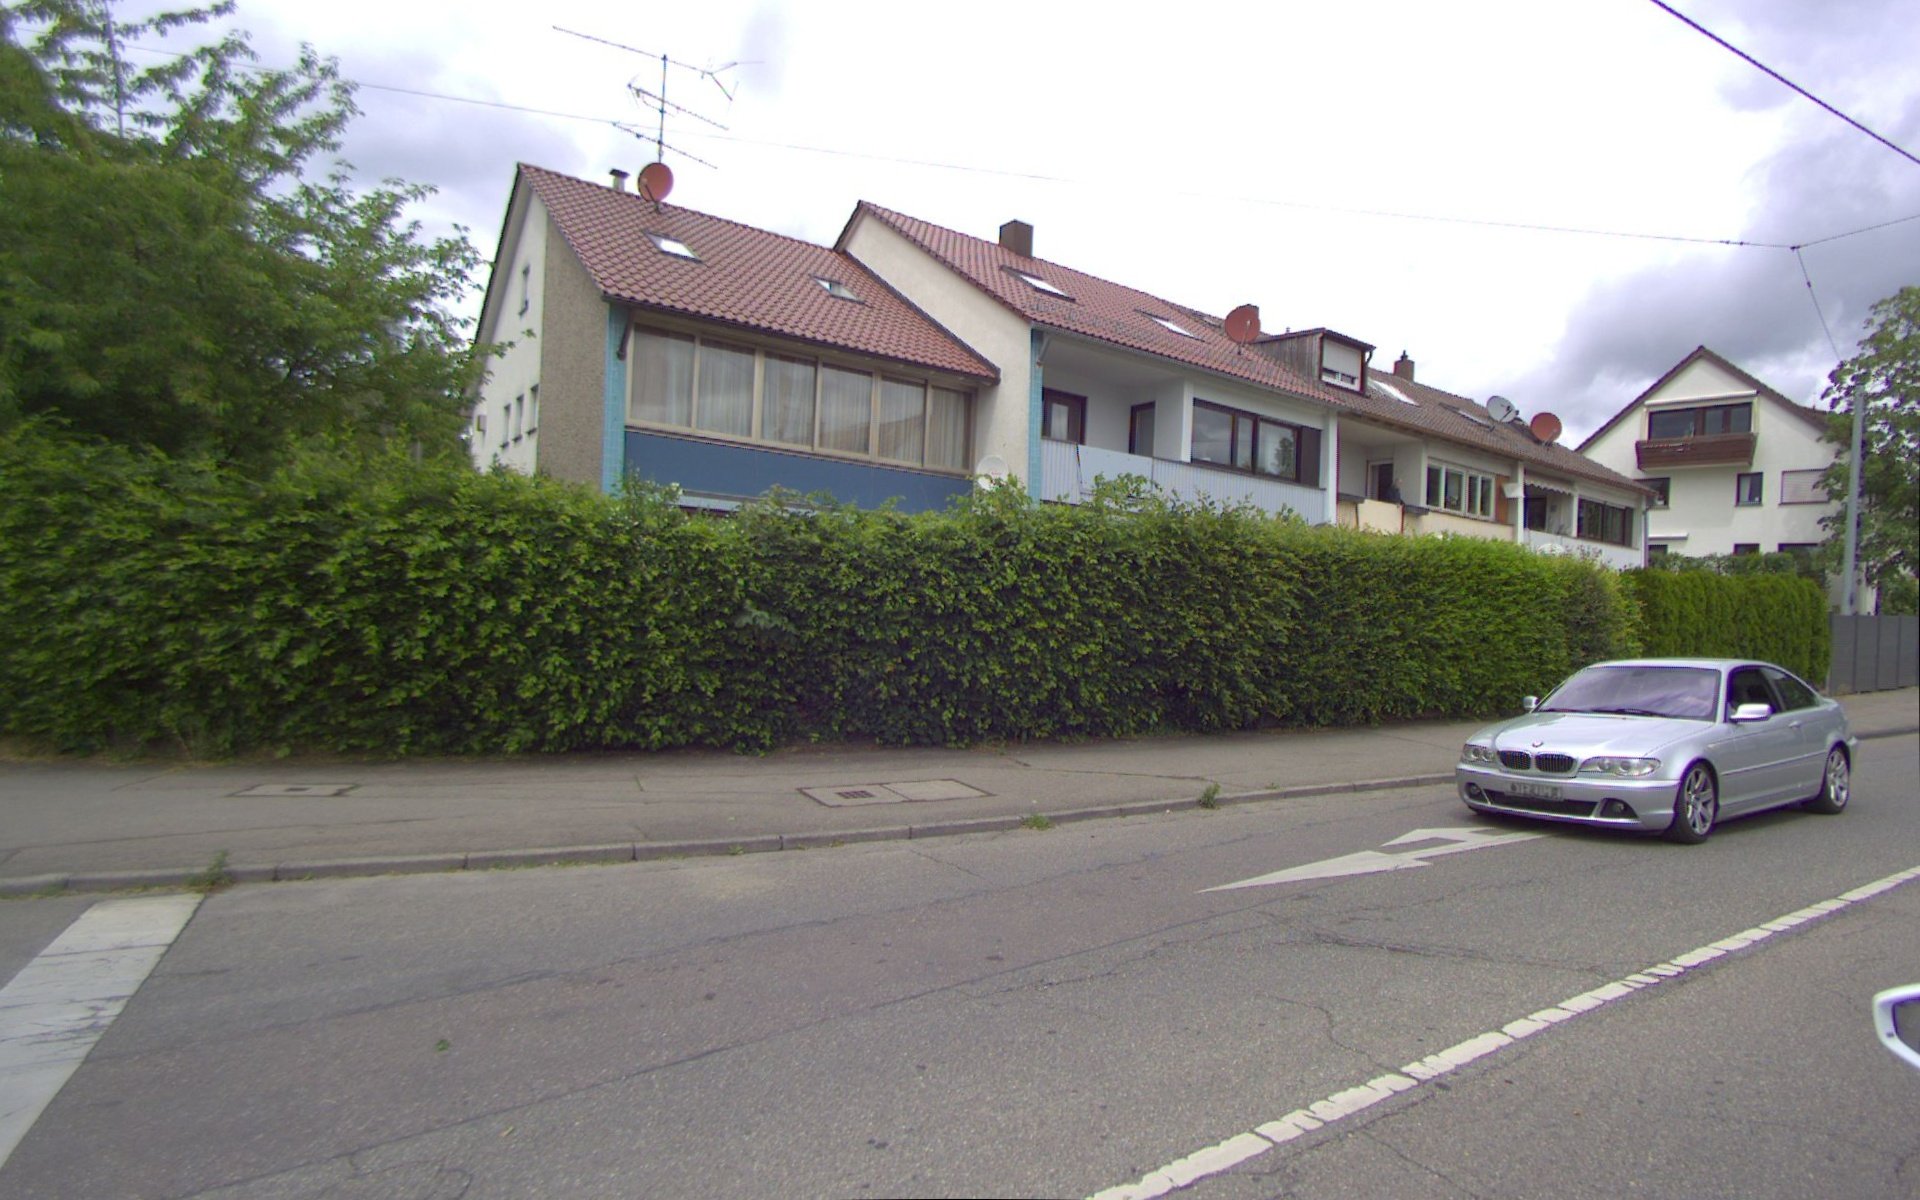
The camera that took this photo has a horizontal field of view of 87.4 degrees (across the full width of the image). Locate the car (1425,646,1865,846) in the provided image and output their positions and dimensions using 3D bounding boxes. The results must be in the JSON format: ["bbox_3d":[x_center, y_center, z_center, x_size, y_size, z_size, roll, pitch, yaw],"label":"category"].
[{"bbox_3d":[6.047,1.137,8.764,4.039,1.371,1.704,2,-5,-33],"label":"car"}]
